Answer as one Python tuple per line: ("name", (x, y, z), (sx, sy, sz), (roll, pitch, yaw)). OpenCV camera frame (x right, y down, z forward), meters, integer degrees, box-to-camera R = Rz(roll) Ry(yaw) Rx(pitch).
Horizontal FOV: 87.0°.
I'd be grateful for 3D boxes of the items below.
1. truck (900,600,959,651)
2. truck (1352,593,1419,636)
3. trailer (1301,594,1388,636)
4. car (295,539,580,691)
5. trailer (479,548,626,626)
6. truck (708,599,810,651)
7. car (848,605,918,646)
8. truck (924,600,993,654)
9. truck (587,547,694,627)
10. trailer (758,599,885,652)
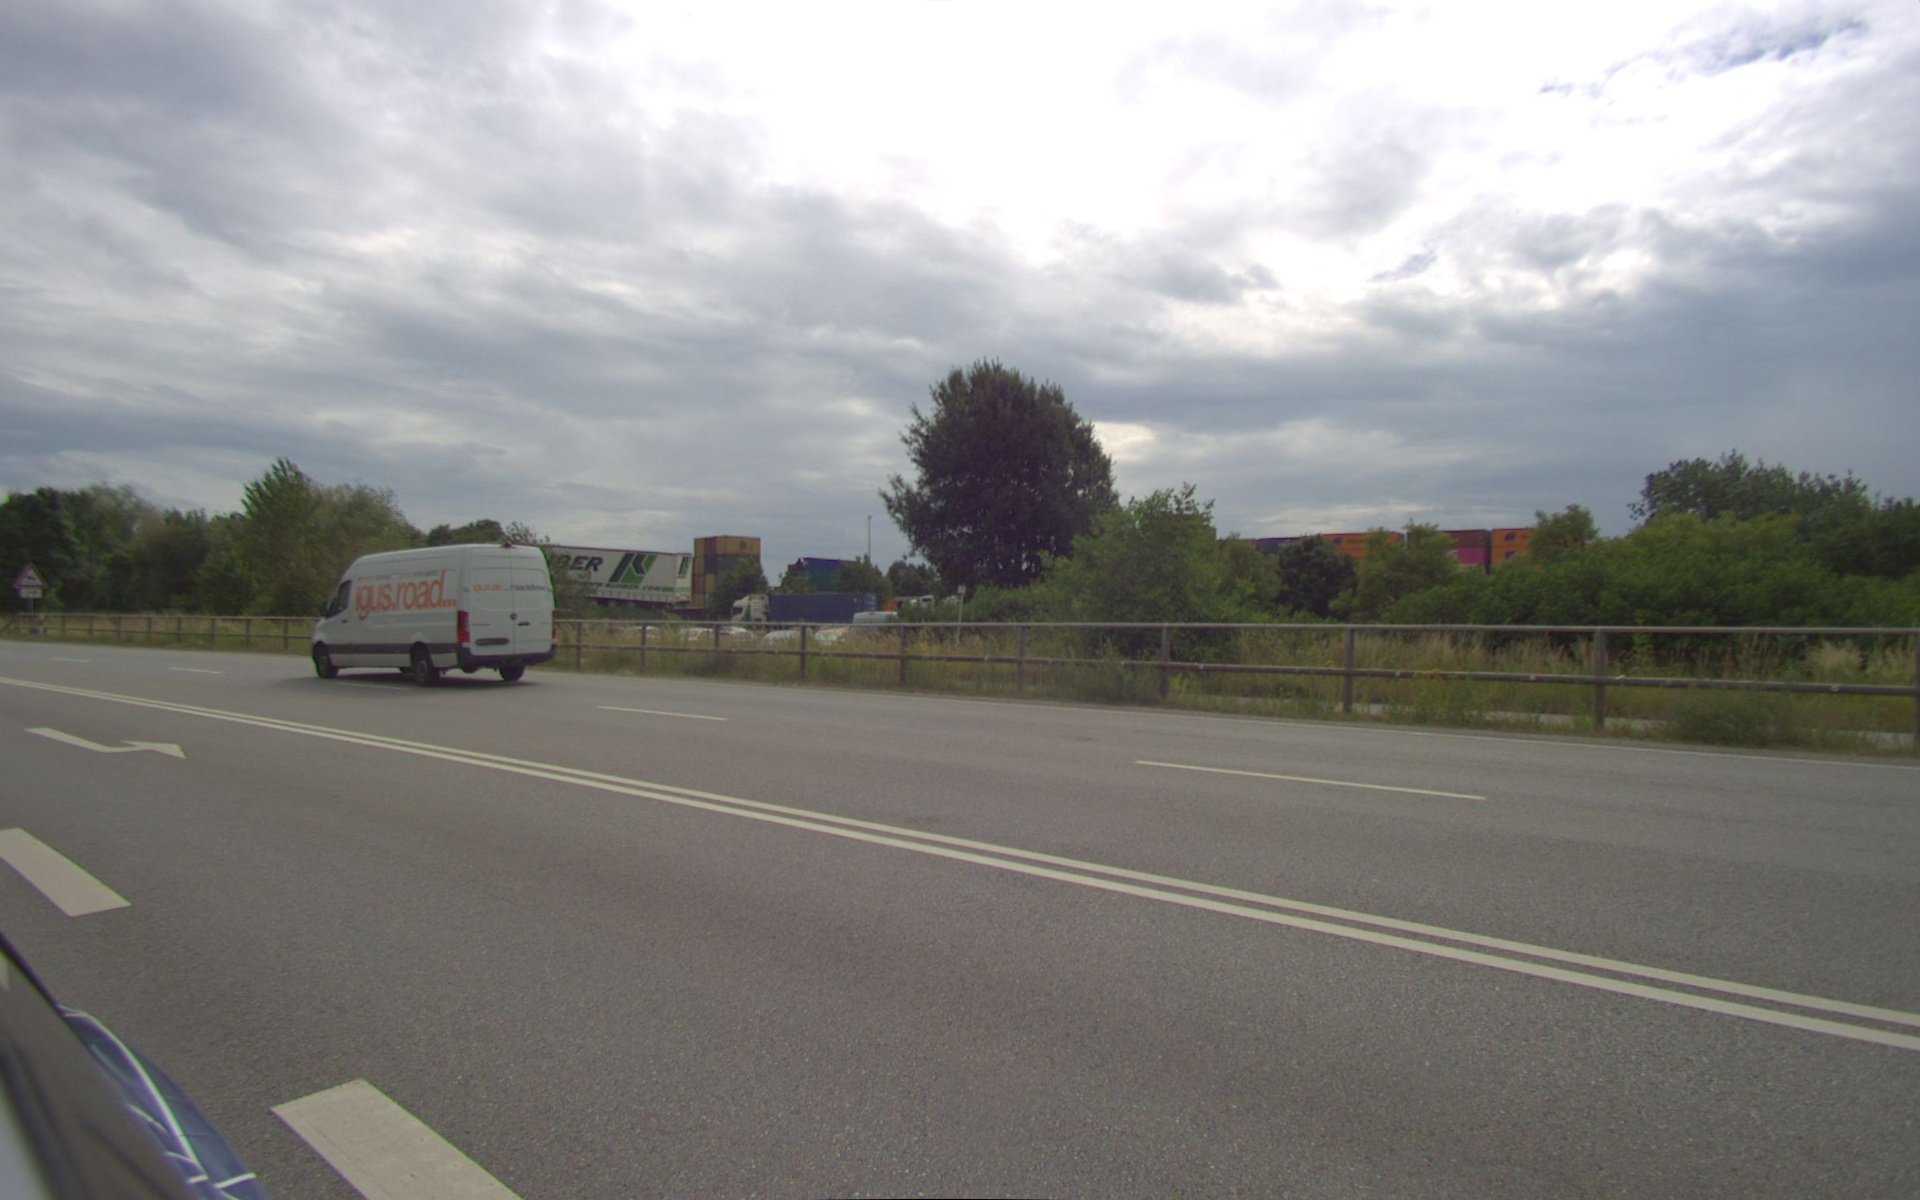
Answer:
("truck", (-2.632, 2.148, 87.079), (4.777, 4.325, 2.202), (0, -1, -8))
("truck", (27.354, 0.912, 65.126), (3.719, 2.698, 1.978), (-1, -1, 32))
("trailer", (25.252, 0.966, 66.449), (5.052, 2.680, 1.978), (-1, -1, 32))
("car", (-10.982, 0.308, 20.979), (6.873, 2.695, 2.412), (-1, -1, 36))
("trailer", (-27.009, -0.806, 67.263), (8.879, 5.034, 2.800), (0, 0, 8))
("truck", (-17.326, 2.103, 87.131), (8.262, 4.325, 3.218), (-1, -1, 22))
("car", (-3.532, 1.170, 47.368), (1.980, 1.747, 4.565), (-1, 1, 13))
("truck", (-0.138, 2.190, 83.654), (5.344, 4.325, 2.202), (0, -1, -8))
("truck", (-20.873, -0.822, 66.341), (6.118, 5.034, 2.798), (0, 0, 8))
("trailer", (-11.648, 2.109, 84.796), (10.334, 4.325, 3.218), (-1, -1, 22))
